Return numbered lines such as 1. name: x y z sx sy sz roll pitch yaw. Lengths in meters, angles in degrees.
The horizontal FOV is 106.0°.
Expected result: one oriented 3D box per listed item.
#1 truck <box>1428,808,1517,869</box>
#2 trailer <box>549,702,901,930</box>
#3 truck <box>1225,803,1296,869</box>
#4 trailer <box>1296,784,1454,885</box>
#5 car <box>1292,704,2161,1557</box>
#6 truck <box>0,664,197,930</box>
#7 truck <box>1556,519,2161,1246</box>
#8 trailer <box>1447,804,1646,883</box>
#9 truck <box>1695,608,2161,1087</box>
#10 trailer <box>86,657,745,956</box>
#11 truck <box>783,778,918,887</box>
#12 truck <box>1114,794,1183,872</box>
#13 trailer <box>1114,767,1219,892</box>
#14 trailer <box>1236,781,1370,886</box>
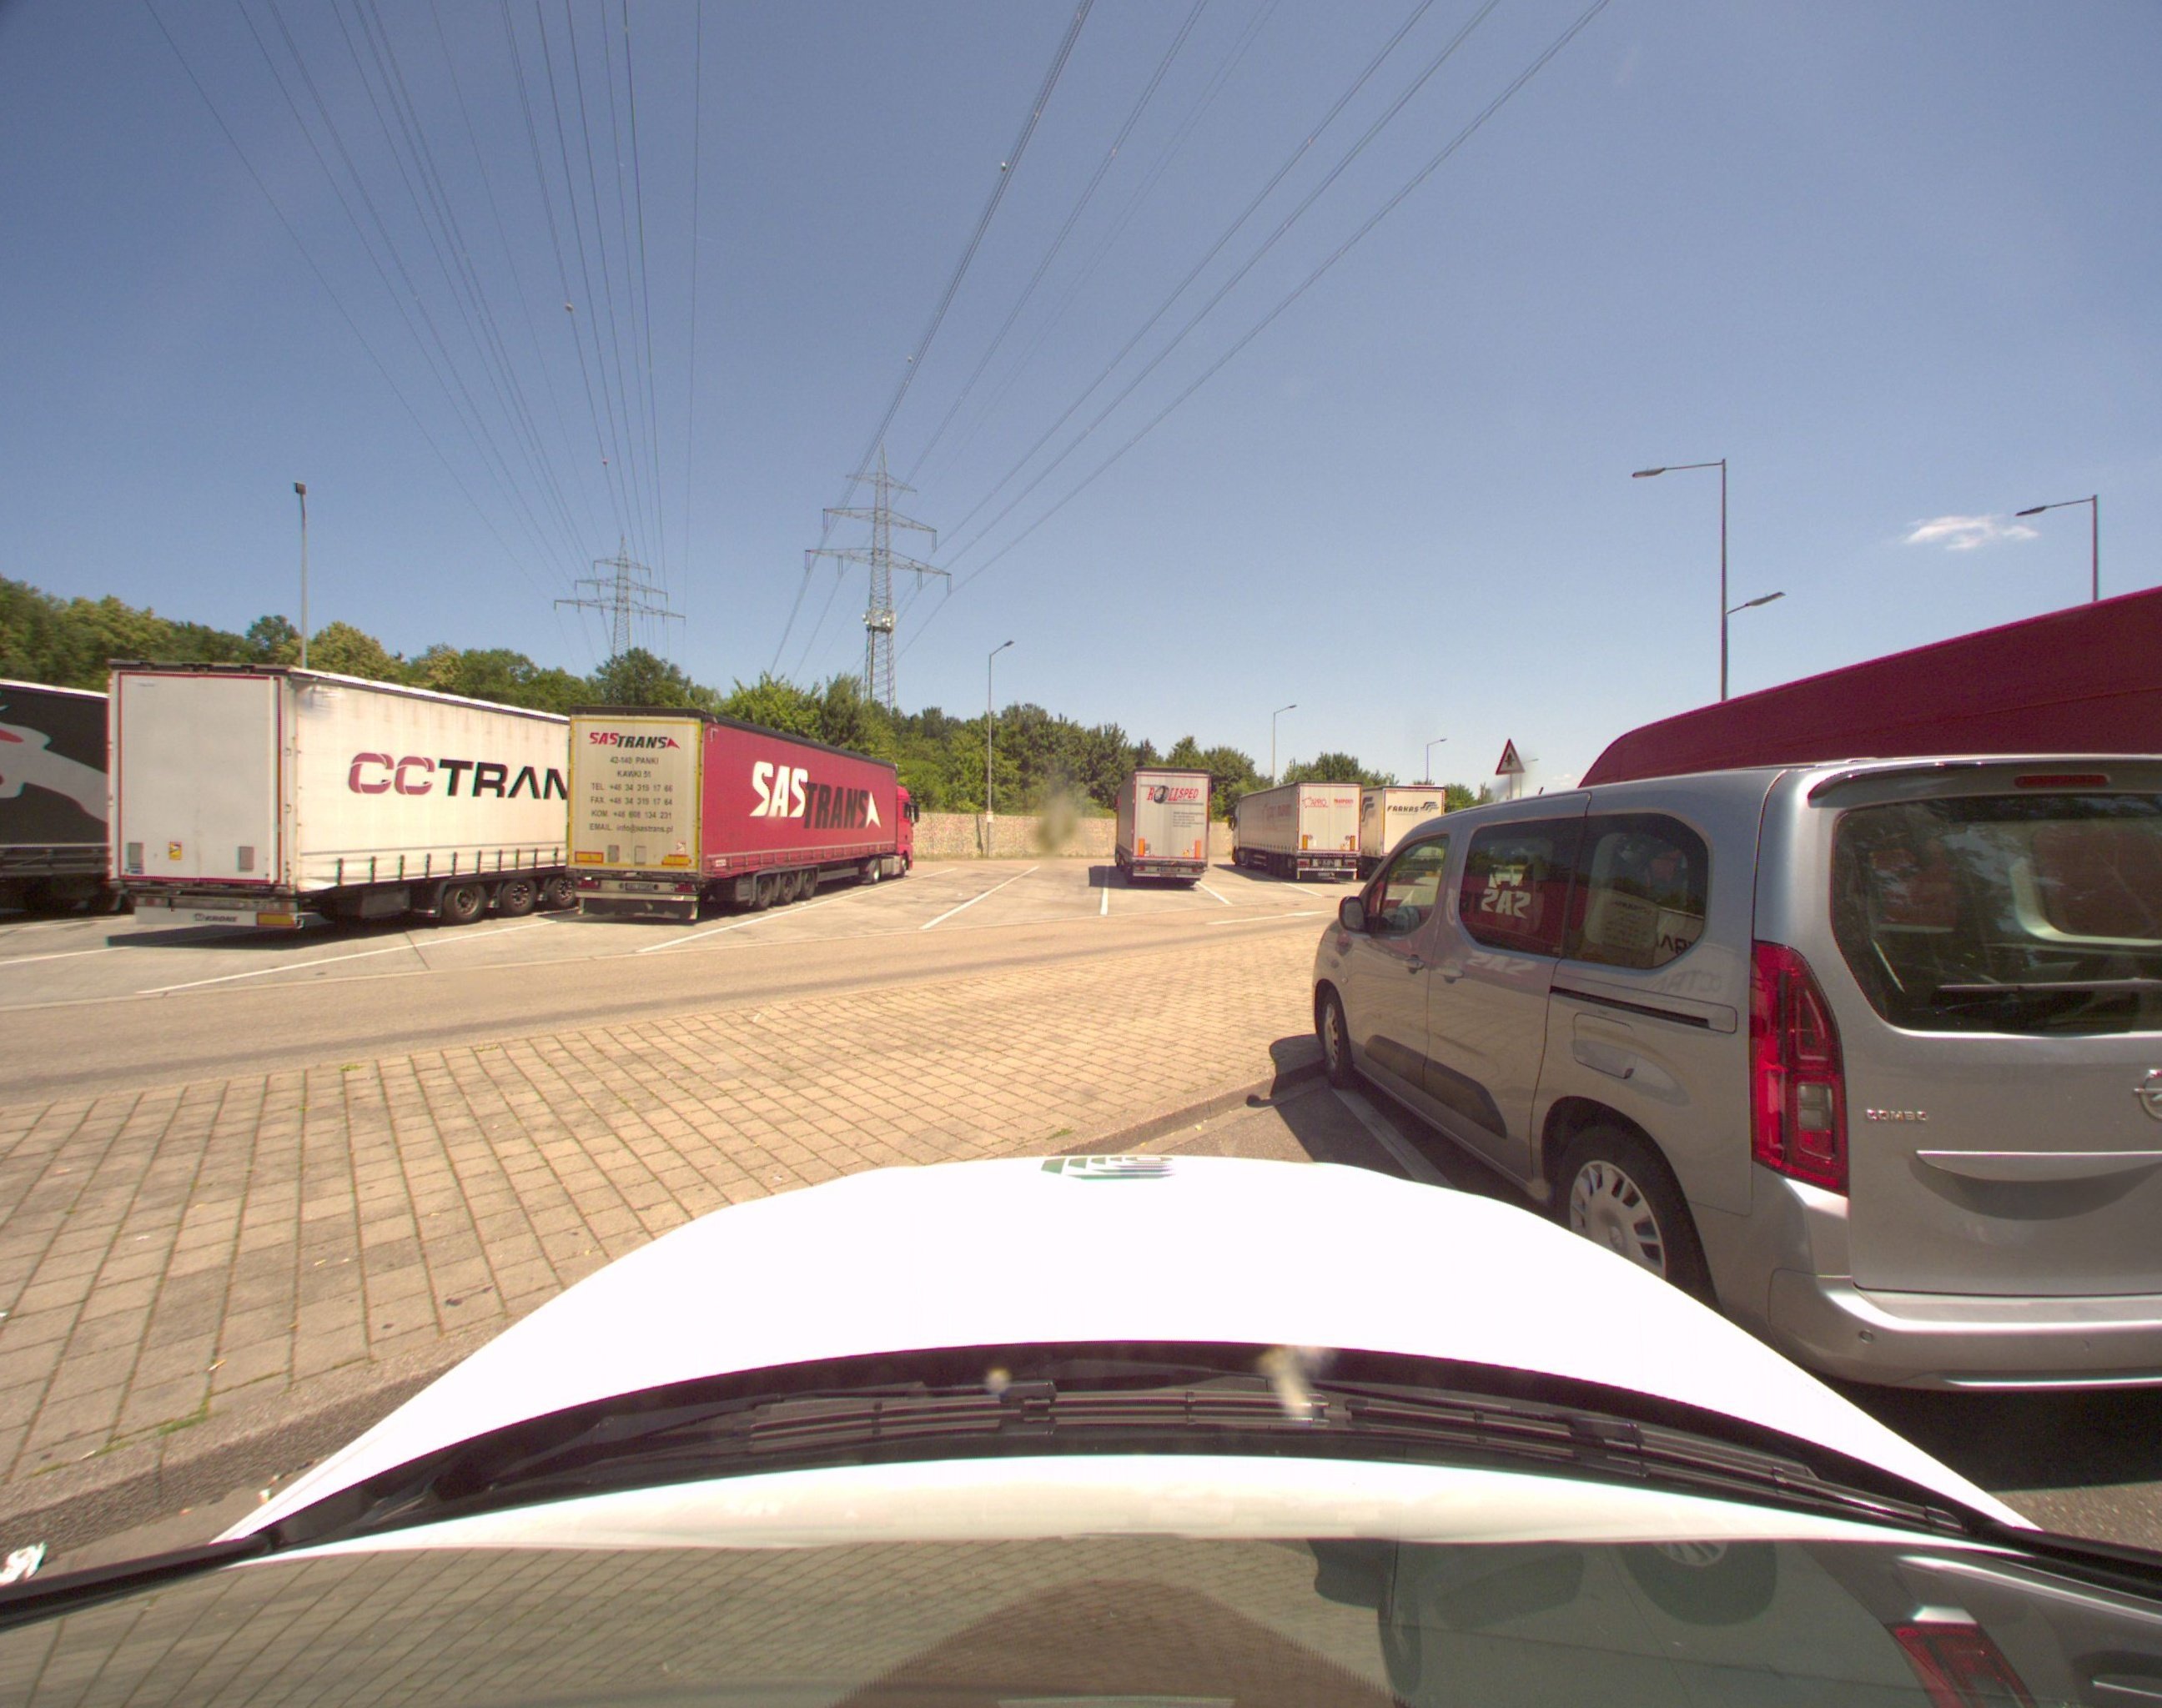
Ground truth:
1. truck: 24.353 -1.002 50.975 2.792 3.521 5.903 1 2 2
2. trailer: -8.069 -0.940 21.898 2.781 4.084 14.139 1 2 2
3. truck: 10.188 -1.069 46.736 2.852 3.521 5.903 1 2 2
4. trailer: 13.599 -1.032 39.598 2.801 3.989 14.403 1 2 2
5. car: 2.483 0.577 3.875 1.864 1.863 4.176 1 1 0
6. truck: -18.546 -0.961 13.777 2.726 4.239 3.997 1 2 2
7. truck: 5.129 0.122 4.898 1.968 2.622 5.314 0 -1 7
8. trailer: 24.096 -0.731 43.744 2.801 3.507 14.403 1 2 2
9. truck: 7.985 -0.034 6.446 2.444 2.912 5.663 -1 -1 7
10. trailer: -12.133 -0.904 18.328 2.785 4.084 14.139 1 2 2
11. truck: -7.820 -0.777 28.467 2.840 3.327 5.903 1 2 2
12. truck: 3.226 -1.074 40.581 3.092 3.566 5.903 1 2 2
13. trailer: 3.059 -1.058 33.687 3.122 3.989 14.401 1 2 1
14. trailer: 9.925 -1.040 38.635 2.801 3.989 14.403 1 2 2
